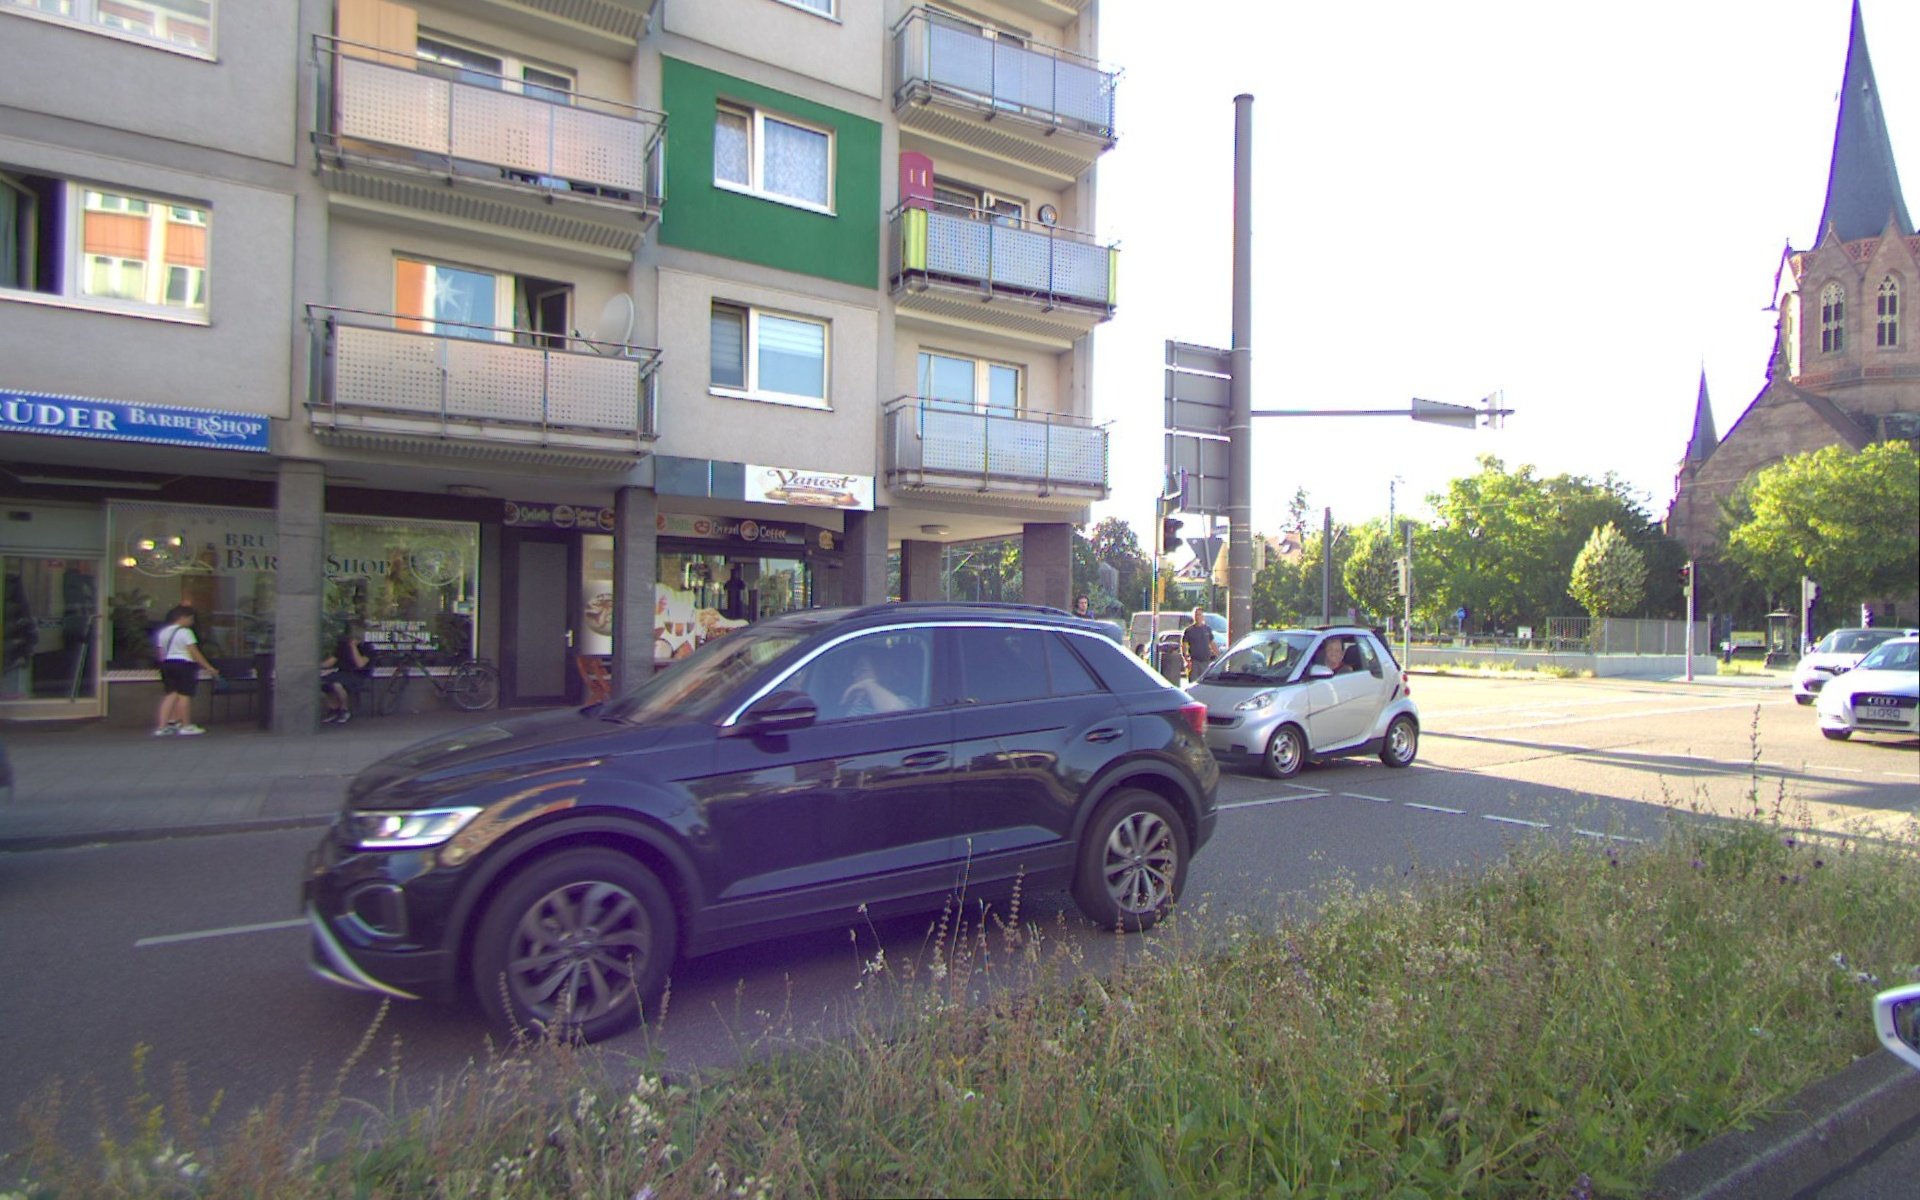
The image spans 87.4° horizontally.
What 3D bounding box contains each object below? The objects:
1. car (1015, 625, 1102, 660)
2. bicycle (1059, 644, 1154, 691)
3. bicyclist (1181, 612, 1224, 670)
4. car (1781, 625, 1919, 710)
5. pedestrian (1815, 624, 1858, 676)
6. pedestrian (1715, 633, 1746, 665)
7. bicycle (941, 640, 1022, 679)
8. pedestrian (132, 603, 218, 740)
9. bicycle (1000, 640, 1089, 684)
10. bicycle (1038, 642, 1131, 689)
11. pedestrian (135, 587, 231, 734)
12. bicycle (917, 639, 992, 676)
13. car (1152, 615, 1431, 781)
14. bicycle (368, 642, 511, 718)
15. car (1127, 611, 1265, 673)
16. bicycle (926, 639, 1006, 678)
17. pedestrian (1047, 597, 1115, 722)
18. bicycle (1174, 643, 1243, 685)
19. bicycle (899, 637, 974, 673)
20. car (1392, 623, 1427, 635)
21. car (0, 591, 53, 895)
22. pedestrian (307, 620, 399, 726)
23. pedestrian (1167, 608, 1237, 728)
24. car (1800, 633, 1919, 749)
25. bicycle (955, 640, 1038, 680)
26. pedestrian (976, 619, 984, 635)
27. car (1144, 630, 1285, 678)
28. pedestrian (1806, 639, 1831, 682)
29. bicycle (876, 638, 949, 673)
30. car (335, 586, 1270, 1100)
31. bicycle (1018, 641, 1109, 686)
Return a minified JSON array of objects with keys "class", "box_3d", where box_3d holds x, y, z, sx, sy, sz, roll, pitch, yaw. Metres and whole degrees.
[{"class":"car","box_3d":[4.211,1.805,43.499,1.781,1.392,3.880,2,-2,-32]},{"class":"bicycle","box_3d":[3.461,1.575,23.690,2.273,1.065,0.731,2,-1,-31]},{"class":"bicyclist","box_3d":[6.895,1.171,28.604,0.952,1.619,0.732,1,-2,-30]},{"class":"car","box_3d":[18.258,1.304,20.118,3.595,1.565,1.667,1,-2,-31]},{"class":"pedestrian","box_3d":[30.806,1.751,35.305,0.803,1.762,0.960,2,-1,-32]},{"class":"pedestrian","box_3d":[42.111,2.666,54.910,0.828,1.719,1.016,2,0,-2]},{"class":"bicycle","box_3d":[0.615,1.687,28.595,2.273,1.065,0.731,2,-2,-31]},{"class":"pedestrian","box_3d":[-8.790,0.783,11.272,0.617,1.486,0.654,1,-1,-27]},{"class":"bicycle","box_3d":[2.178,1.584,25.724,2.273,1.065,0.731,2,-2,-31]},{"class":"bicycle","box_3d":[3.038,1.581,24.374,2.273,1.065,0.731,2,-2,-31]},{"class":"pedestrian","box_3d":[-9.285,0.707,12.012,0.613,1.694,0.658,0,-1,24]},{"class":"bicycle","box_3d":[-0.148,1.698,29.861,2.273,1.065,0.558,2,-2,-31]},{"class":"car","box_3d":[3.698,1.004,11.180,2.776,1.614,1.527,1,-2,-31]},{"class":"bicycle","box_3d":[-7.356,1.110,14.235,1.684,1.012,0.619,2,-2,-40]},{"class":"car","box_3d":[8.374,1.460,36.132,1.978,2.040,4.896,2,-2,-32]},{"class":"bicycle","box_3d":[0.177,1.702,29.276,2.273,1.065,0.731,2,-2,-31]},{"class":"pedestrian","box_3d":[1.903,0.928,15.855,0.802,1.900,0.605,1,2,-30]},{"class":"bicycle","box_3d":[7.009,1.787,28.397,0.940,1.112,1.769,1,-2,-30]},{"class":"bicycle","box_3d":[-0.719,1.699,30.879,2.273,1.065,0.642,2,-2,-31]},{"class":"car","box_3d":[67.517,4.358,150.795,1.985,1.592,4.411,2,-2,-41]},{"class":"car","box_3d":[-6.973,0.747,4.456,4.054,1.650,1.711,1,-2,-31]},{"class":"pedestrian","box_3d":[-7.949,0.932,13.182,0.613,1.331,0.811,0,-1,16]},{"class":"pedestrian","box_3d":[3.800,1.045,15.766,0.802,1.811,0.606,1,2,-27]},{"class":"car","box_3d":[13.536,1.182,13.871,4.054,1.444,1.700,1,-2,-31]},{"class":"bicycle","box_3d":[1.016,1.661,27.903,2.273,1.065,0.731,2,-2,-31]},{"class":"pedestrian","box_3d":[2.348,3.141,118.462,0.677,1.847,0.531,2,-1,-27]},{"class":"car","box_3d":[7.770,1.623,31.050,1.781,1.330,4.165,2,-2,-32]},{"class":"pedestrian","box_3d":[35.863,2.526,41.980,0.699,1.719,0.892,2,0,38]},{"class":"bicycle","box_3d":[-1.509,1.774,32.254,2.273,1.065,0.731,2,-2,-31]},{"class":"car","box_3d":[-0.573,0.801,4.841,4.054,1.565,1.667,1,-2,-31]},{"class":"bicycle","box_3d":[2.601,1.568,25.057,2.273,1.065,0.731,2,-2,-31]}]
